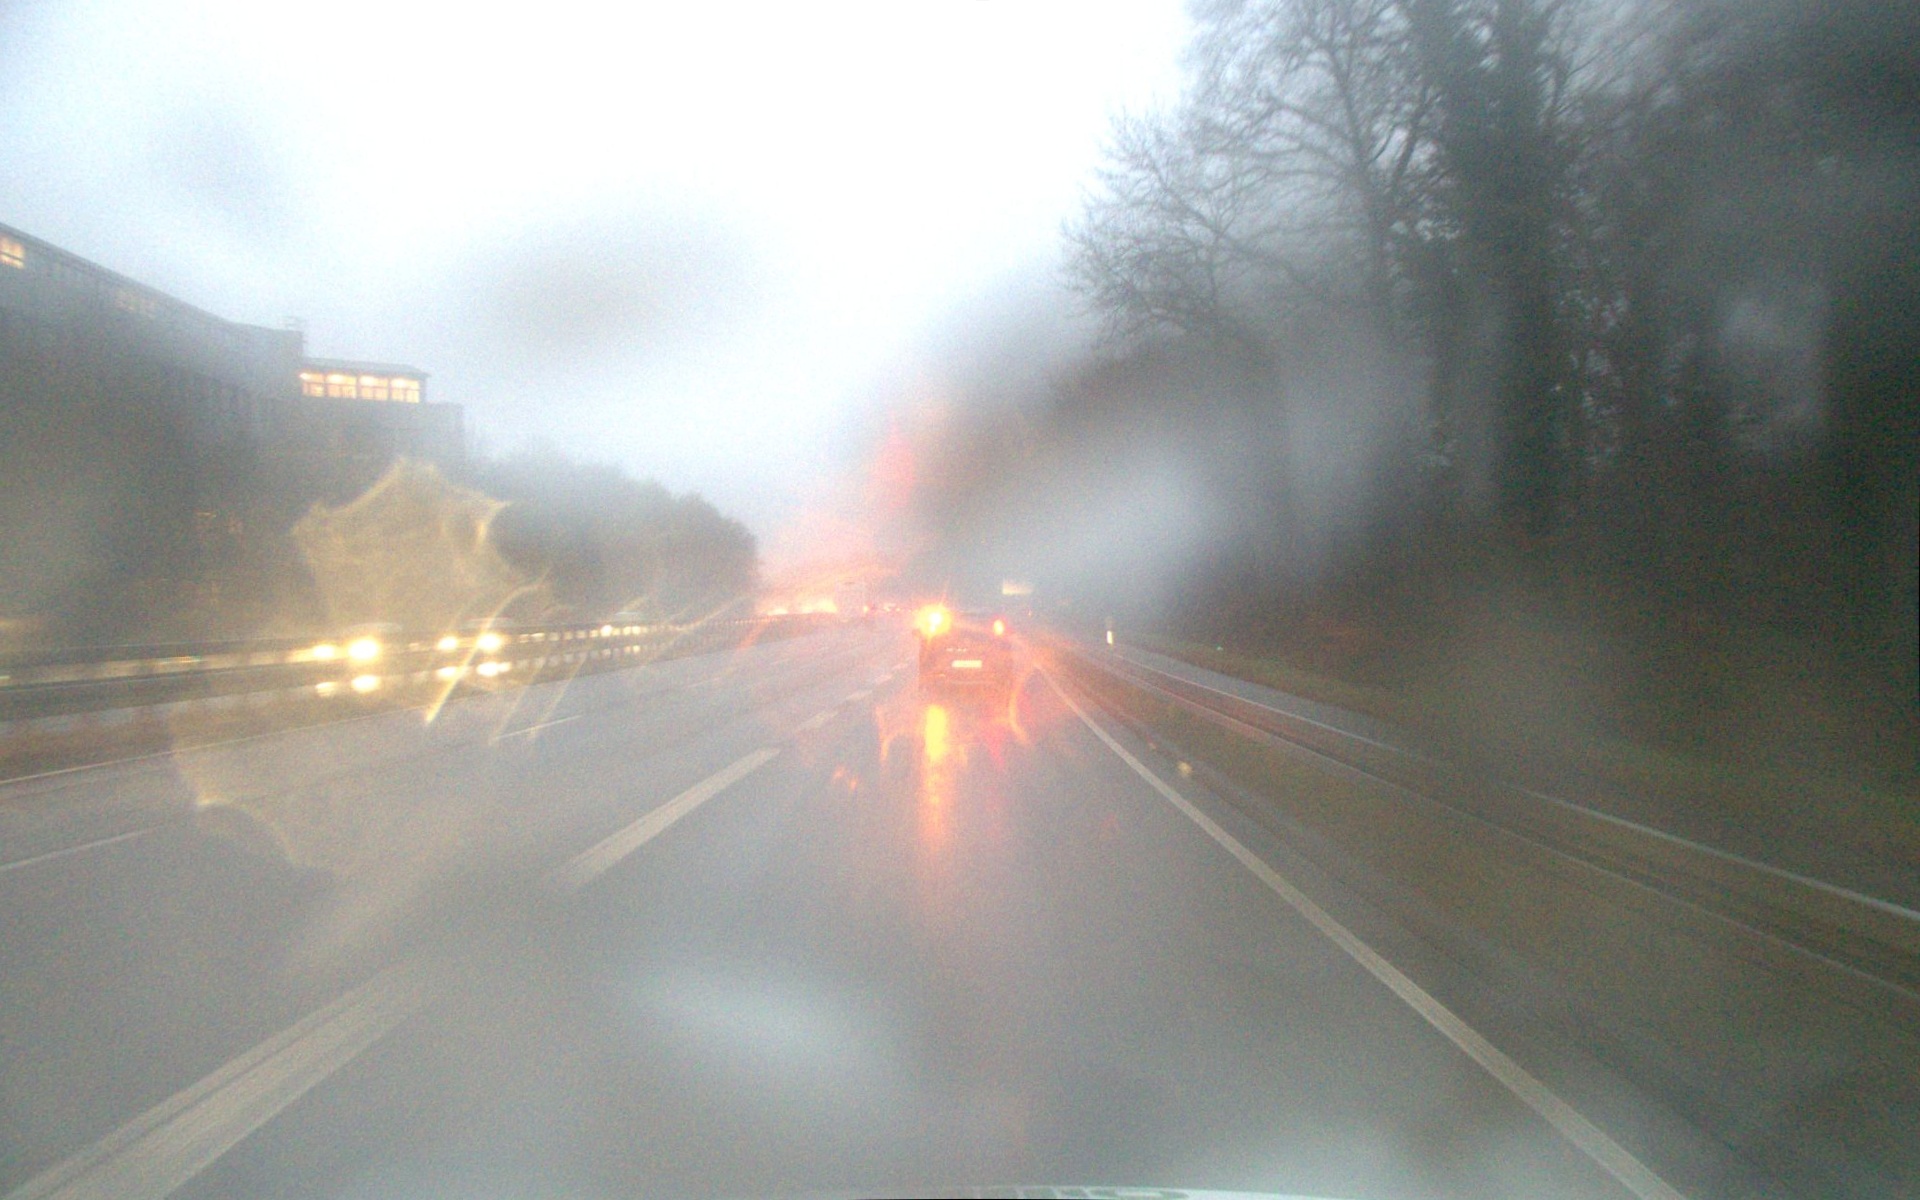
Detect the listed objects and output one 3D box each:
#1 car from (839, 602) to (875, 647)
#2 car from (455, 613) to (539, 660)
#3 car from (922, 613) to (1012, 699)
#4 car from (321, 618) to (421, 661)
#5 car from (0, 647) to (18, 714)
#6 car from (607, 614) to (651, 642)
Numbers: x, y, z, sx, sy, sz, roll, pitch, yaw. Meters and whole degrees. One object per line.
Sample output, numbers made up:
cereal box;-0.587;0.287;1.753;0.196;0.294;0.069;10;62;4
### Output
car;-5.841;1.364;93.691;1.961;2.496;3.997;1;0;-4
car;-15.718;1.211;56.338;1.513;1.468;4.362;1;0;1
car;0.085;0.988;30.476;1.497;1.440;3.477;1;0;-2
car;-19.383;1.263;54.626;1.513;1.294;4.687;1;0;1
car;-20.160;1.616;31.851;1.513;1.345;4.258;1;0;1
car;-18.833;1.565;94.382;1.513;1.539;4.541;0;-1;1
